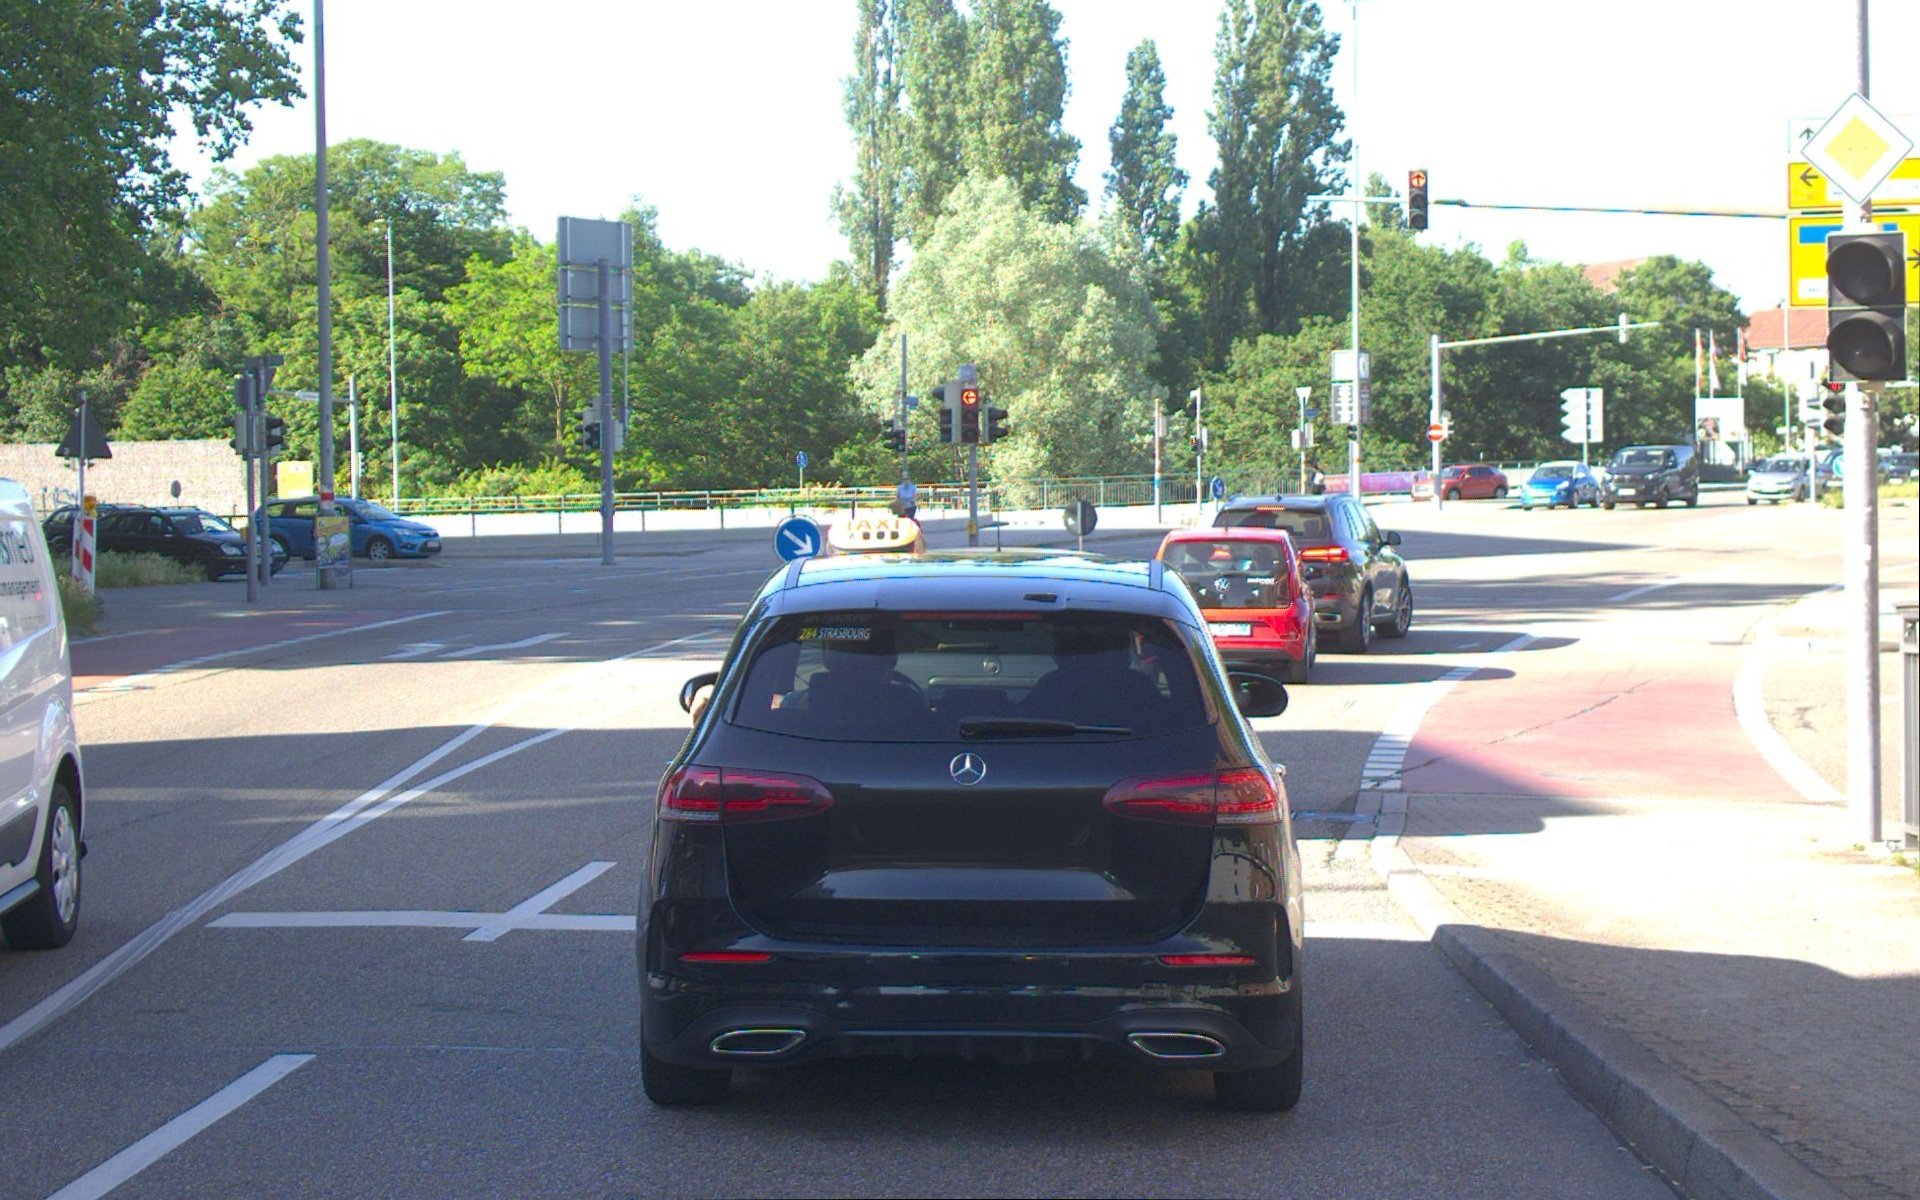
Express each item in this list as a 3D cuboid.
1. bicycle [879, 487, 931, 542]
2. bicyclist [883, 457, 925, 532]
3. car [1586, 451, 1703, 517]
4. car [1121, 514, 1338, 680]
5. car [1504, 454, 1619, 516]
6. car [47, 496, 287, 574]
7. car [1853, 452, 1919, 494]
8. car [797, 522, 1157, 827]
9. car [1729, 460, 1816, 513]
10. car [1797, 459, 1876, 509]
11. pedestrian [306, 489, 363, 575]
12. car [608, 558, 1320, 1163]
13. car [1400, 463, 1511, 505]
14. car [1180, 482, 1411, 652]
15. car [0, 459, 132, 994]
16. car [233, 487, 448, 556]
[{"bbox_3d":[-1.256,-1.985,79.294,0.687,1.198,2.326,0,3,12],"label":"bicycle"},{"bbox_3d":[-1.285,-2.437,79.163,0.687,1.695,1.197,0,3,12],"label":"bicyclist"},{"bbox_3d":[20.886,-3.538,104.767,1.997,1.928,4.844,1,3,30],"label":"car"},{"bbox_3d":[2.751,-0.083,34.357,1.821,1.474,3.999,2,2,9],"label":"car"},{"bbox_3d":[19.008,-3.647,108.530,1.997,1.858,4.844,1,3,30],"label":"car"},{"bbox_3d":[-15.380,-1.257,66.641,4.443,1.433,1.823,0,2,29],"label":"car"},{"bbox_3d":[33.266,-4.489,121.833,1.997,1.448,3.993,1,2,32],"label":"car"},{"bbox_3d":[0.116,0.338,19.642,1.820,1.484,4.000,-1,2,1],"label":"car"},{"bbox_3d":[25.261,-3.542,106.752,1.822,1.577,4.099,0,2,25],"label":"car"},{"bbox_3d":[29.080,-3.856,113.962,1.726,1.577,3.998,0,3,27],"label":"car"},{"bbox_3d":[-11.740,-1.271,64.560,0.686,1.533,1.366,1,-2,5],"label":"pedestrian"},{"bbox_3d":[-0.029,0.629,10.474,1.751,1.488,4.000,0,0,-1],"label":"car"},{"bbox_3d":[18.935,-4.439,131.268,3.988,1.543,2.000,-2,3,-38],"label":"car"},{"bbox_3d":[3.946,-0.438,39.818,1.870,1.784,4.411,2,3,16],"label":"car"},{"bbox_3d":[-4.137,0.445,11.442,1.810,1.795,5.122,-1,2,-4],"label":"car"},{"bbox_3d":[-13.773,-1.745,76.438,4.442,1.433,1.824,0,2,26],"label":"car"}]
